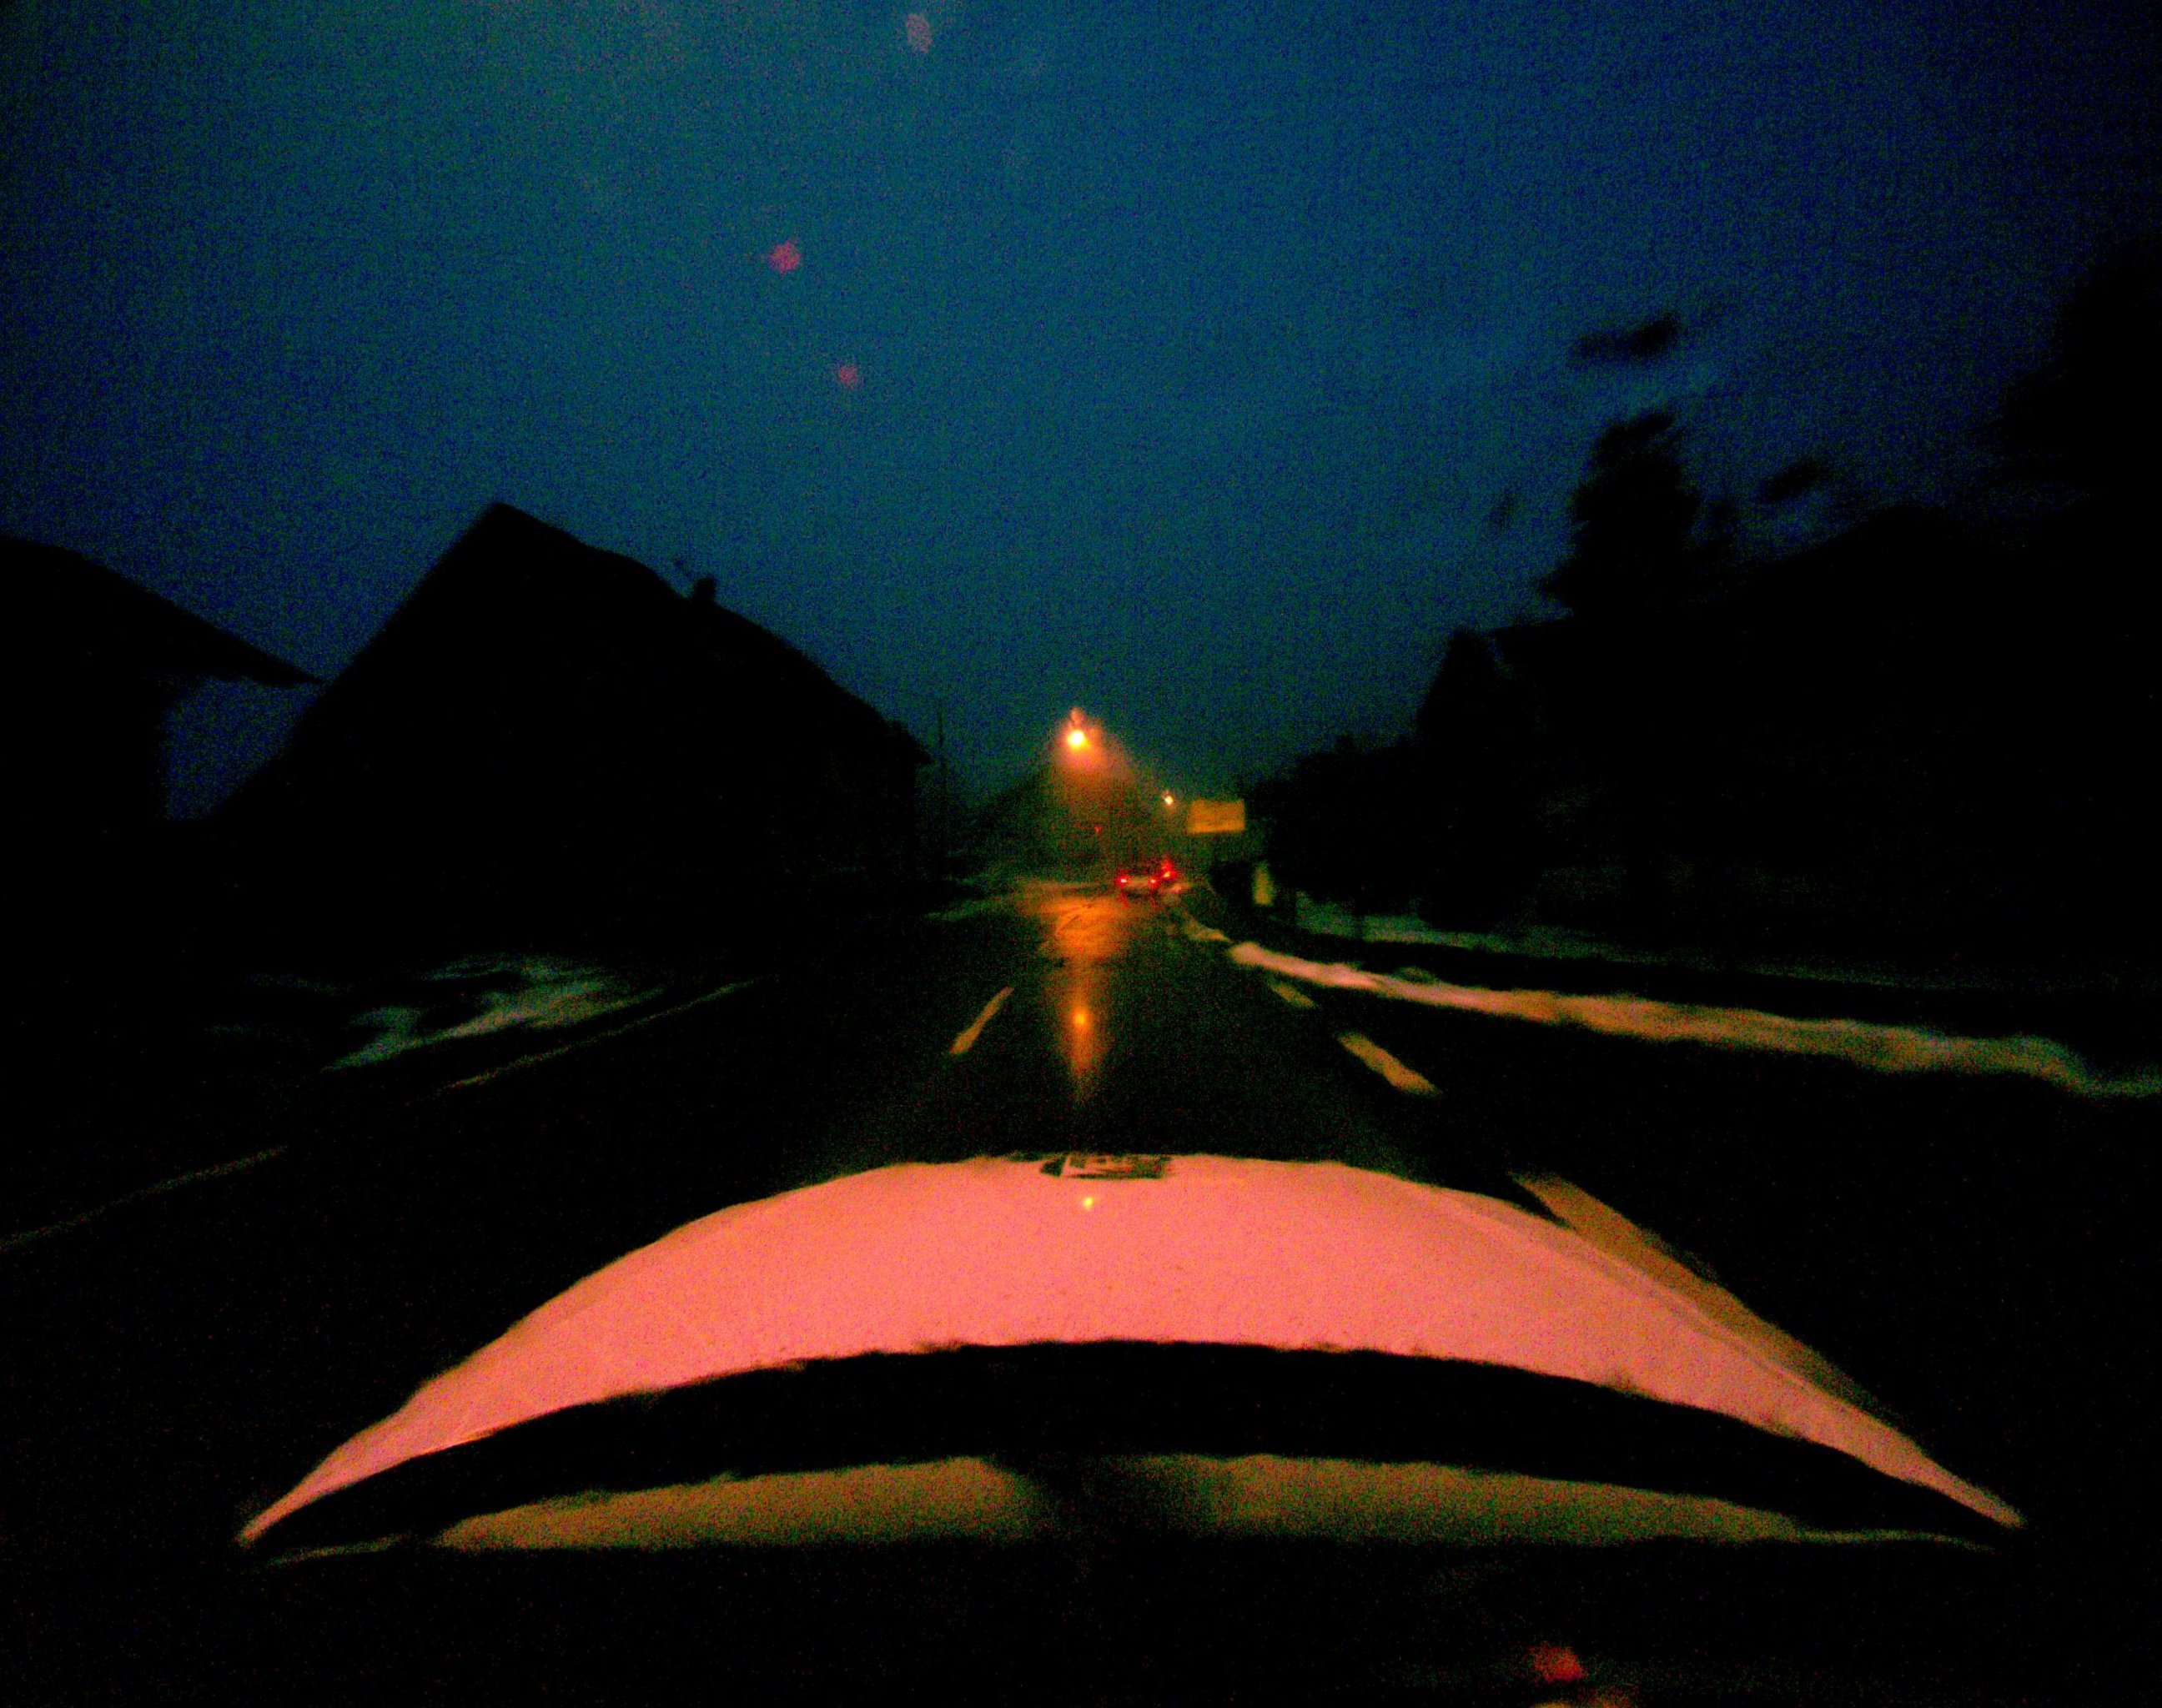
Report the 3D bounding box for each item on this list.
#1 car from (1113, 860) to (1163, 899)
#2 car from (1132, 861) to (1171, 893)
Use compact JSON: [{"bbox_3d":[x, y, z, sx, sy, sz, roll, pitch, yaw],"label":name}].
[{"bbox_3d":[2.680,1.139,37.436,1.983,1.508,4.009,-3,1,7],"label":"car"},{"bbox_3d":[4.767,1.522,54.533,1.980,1.837,4.014,-3,1,12],"label":"car"}]
